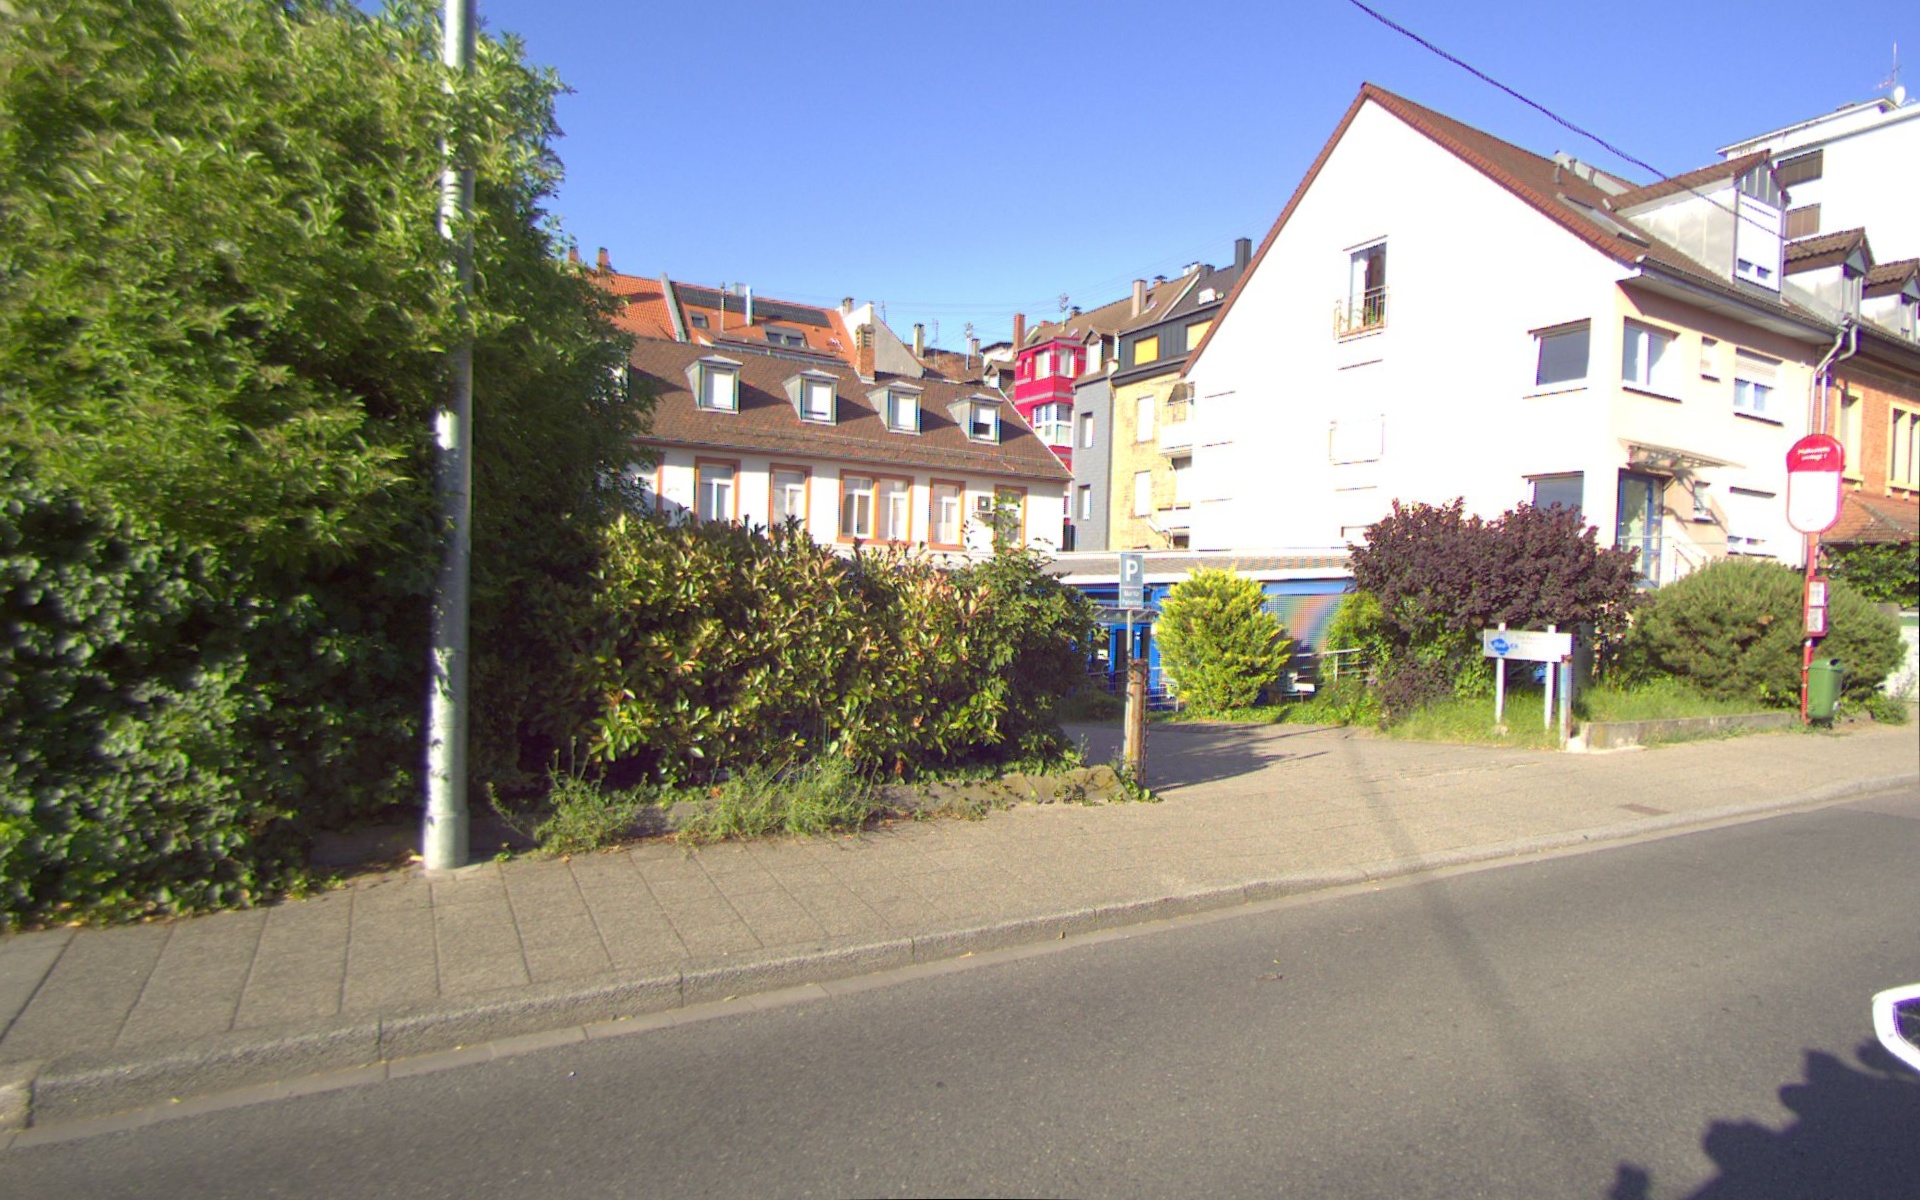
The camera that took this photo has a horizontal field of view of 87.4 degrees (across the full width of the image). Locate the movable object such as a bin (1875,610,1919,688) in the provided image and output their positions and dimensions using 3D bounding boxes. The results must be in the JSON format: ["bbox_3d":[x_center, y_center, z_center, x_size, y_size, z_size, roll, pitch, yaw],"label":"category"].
[{"bbox_3d":[18.430,0.934,19.096,0.981,1.449,1.299,1,1,-33],"label":"movable object such as a bin"}]

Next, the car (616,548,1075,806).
[{"bbox_3d":[-0.991,0.660,8.800,3.626,1.837,1.695,1,-6,-29],"label":"car"}]

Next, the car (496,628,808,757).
[{"bbox_3d":[-4.188,1.181,13.831,3.754,1.537,1.829,1,-3,-35],"label":"car"}]
